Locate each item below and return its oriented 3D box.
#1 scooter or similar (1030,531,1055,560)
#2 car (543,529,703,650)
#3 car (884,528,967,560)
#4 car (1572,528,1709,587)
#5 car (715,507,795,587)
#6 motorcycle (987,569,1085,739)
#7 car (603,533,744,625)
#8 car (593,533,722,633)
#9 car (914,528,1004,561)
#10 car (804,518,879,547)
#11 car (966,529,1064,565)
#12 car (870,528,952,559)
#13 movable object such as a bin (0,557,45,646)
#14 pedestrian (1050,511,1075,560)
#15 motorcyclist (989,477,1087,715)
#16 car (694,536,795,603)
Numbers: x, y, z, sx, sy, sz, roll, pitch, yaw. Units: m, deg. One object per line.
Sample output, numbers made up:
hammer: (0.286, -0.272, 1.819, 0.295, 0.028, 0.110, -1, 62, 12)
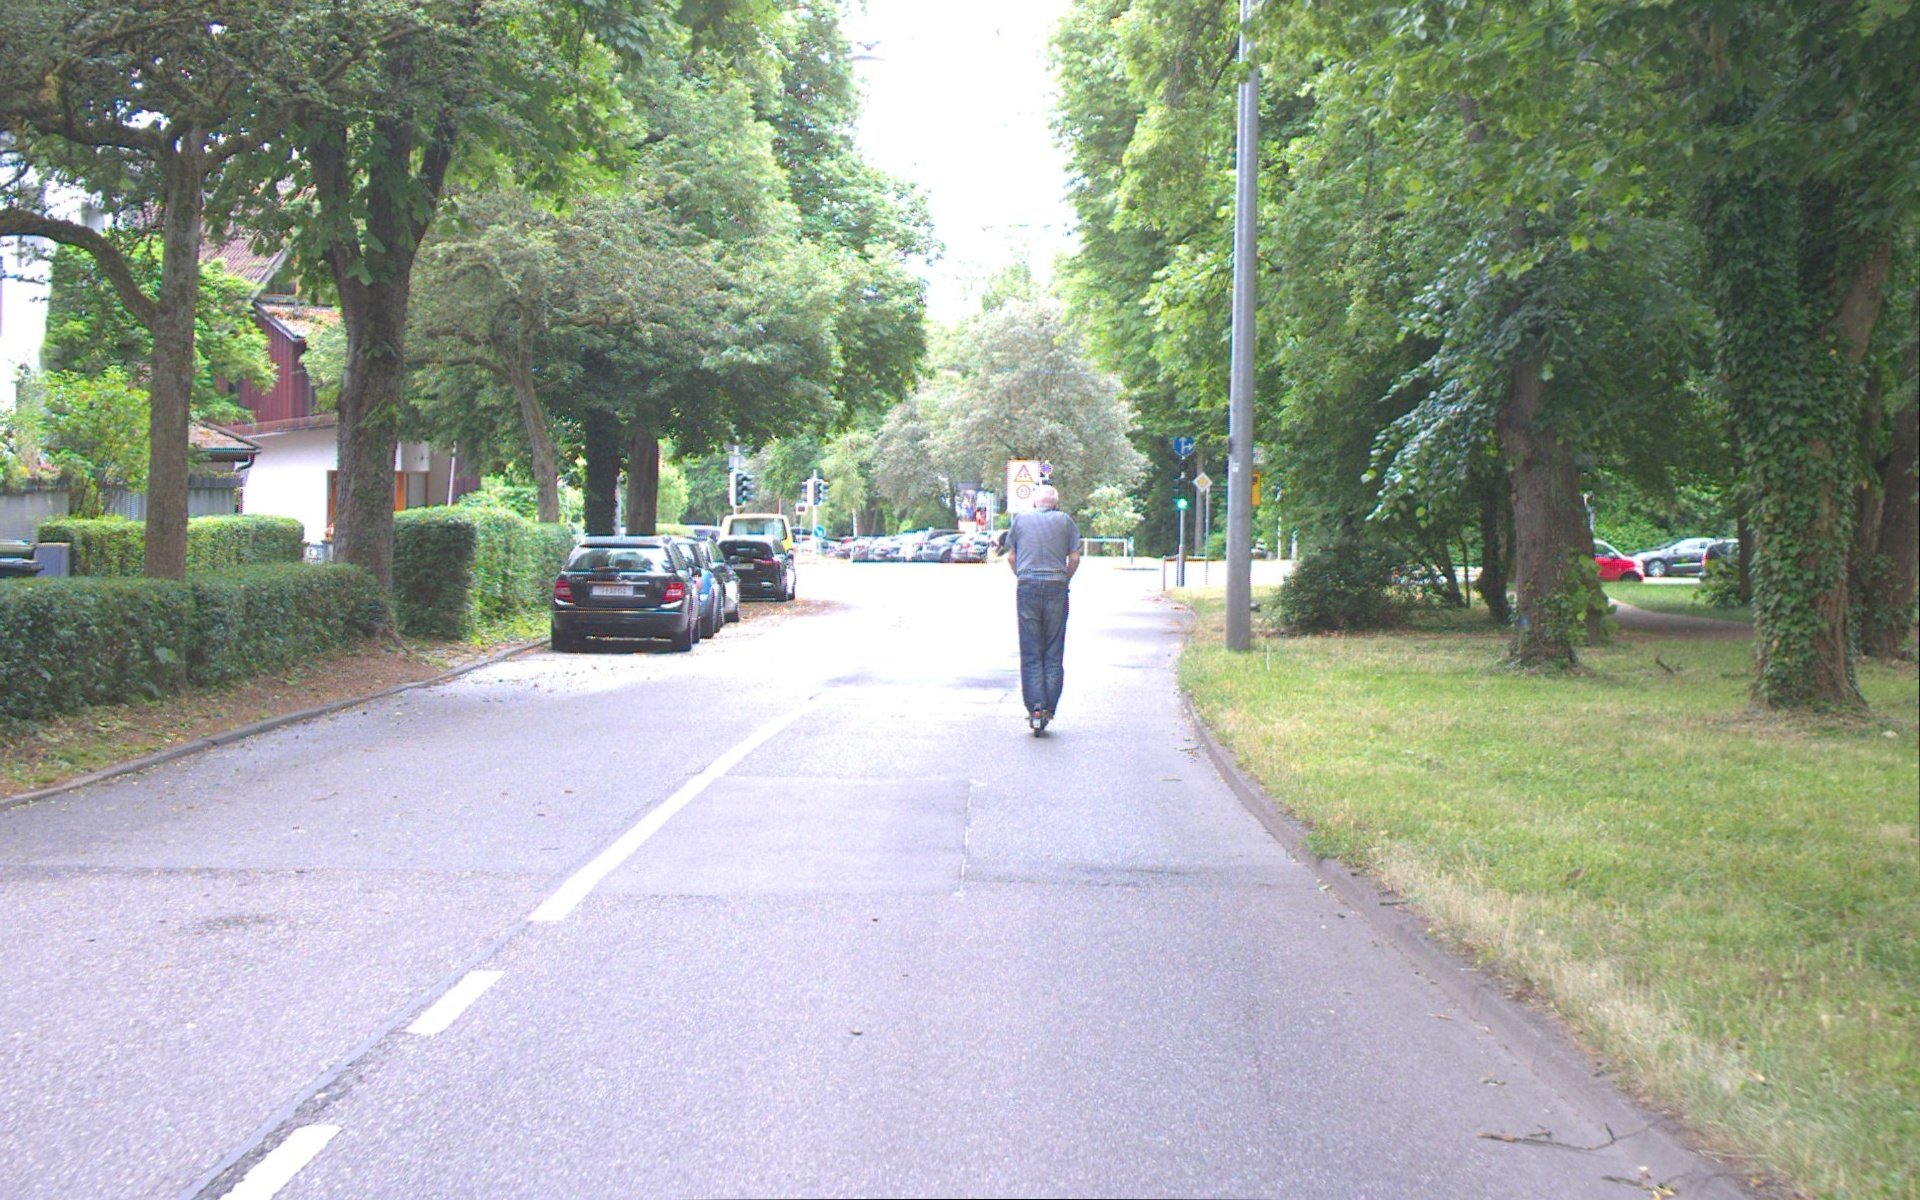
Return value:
scooter or similar: (2.963, -1.968, 123.550, 0.711, 1.045, 0.786, 1, 1, 19)
car: (-4.290, -0.174, 44.297, 1.794, 1.467, 4.419, 0, 1, -2)
car: (-1.686, -2.724, 167.110, 3.986, 1.505, 1.800, 0, 1, -2)
car: (20.742, -1.311, 104.685, 3.989, 1.551, 1.799, 2, 4, 13)
car: (-5.164, -1.325, 86.163, 1.857, 1.957, 4.505, 0, 1, -5)
motorcycle: (0.570, 0.390, 25.837, 0.673, 1.213, 1.274, 2, 1, 1)
car: (-4.537, -0.367, 55.076, 1.794, 1.405, 4.645, 0, 1, 1)
car: (-4.307, -0.271, 49.368, 1.664, 1.387, 3.707, 0, 1, -2)
car: (-0.052, -2.525, 156.380, 3.986, 1.505, 1.800, 0, 1, -2)
car: (-6.349, -3.607, 183.633, 3.986, 1.505, 1.800, 0, 1, -2)
car: (2.271, -2.203, 142.391, 3.986, 1.505, 1.800, 0, 1, -2)
car: (-2.424, -2.779, 169.012, 3.986, 1.505, 1.800, 0, 1, -2)
movable object such as a bin: (-9.776, 0.014, 35.689, 0.456, 0.912, 0.508, 0, 1, -6)
pedestrian: (3.673, -2.322, 123.283, 0.733, 1.756, 0.661, 1, 1, 19)
motorcyclist: (0.589, -0.038, 26.012, 0.673, 1.755, 0.639, 2, 1, 1)
car: (-4.690, -0.674, 75.376, 1.892, 1.405, 4.554, 0, 1, 1)
